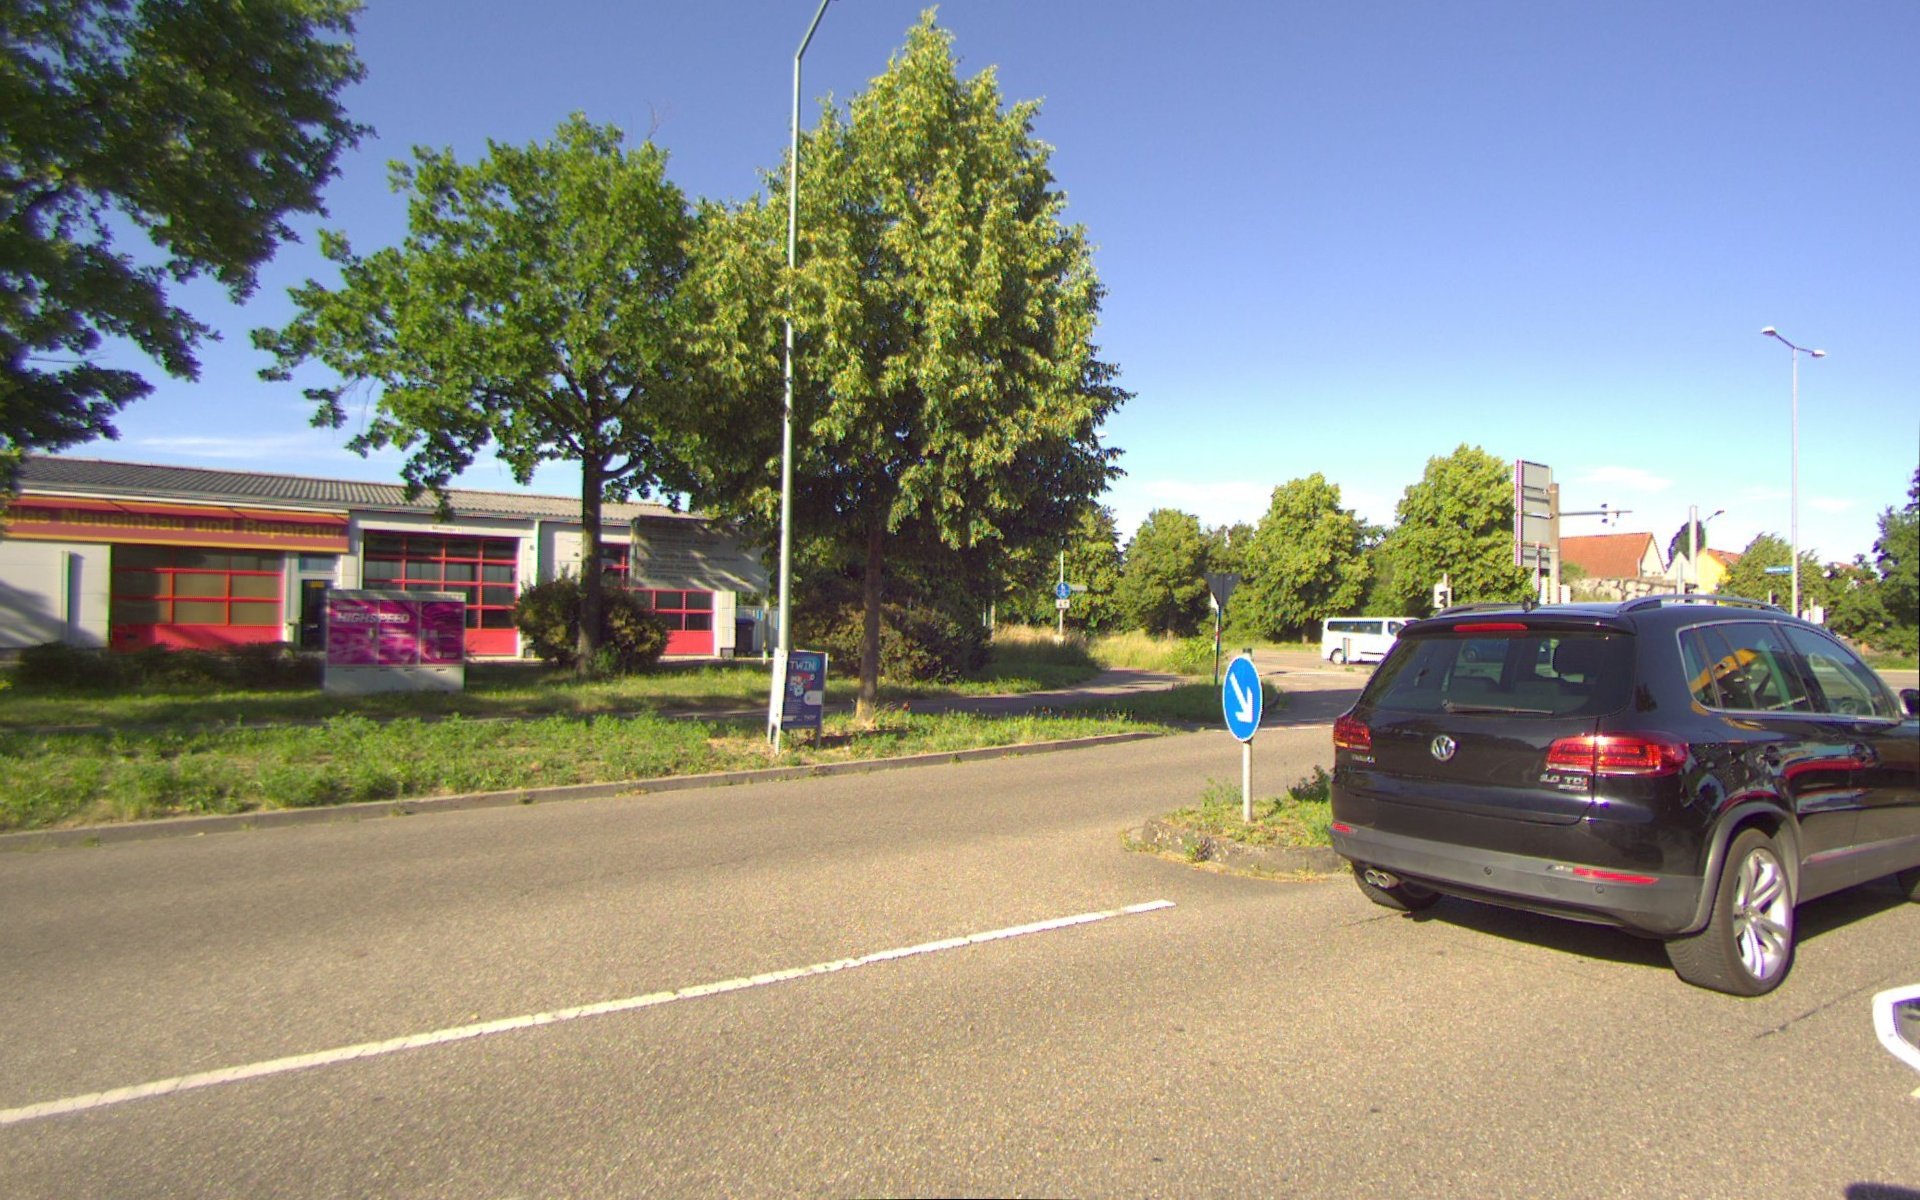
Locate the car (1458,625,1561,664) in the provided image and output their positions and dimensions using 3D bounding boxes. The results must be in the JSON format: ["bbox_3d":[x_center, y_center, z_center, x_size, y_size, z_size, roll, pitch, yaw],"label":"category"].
[{"bbox_3d":[23.761,1.908,43.501,1.733,1.581,3.559,2,-2,-35],"label":"car"}]

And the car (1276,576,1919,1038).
[{"bbox_3d":[3.771,0.831,5.466,3.955,1.675,1.763,1,-3,-32],"label":"car"}]

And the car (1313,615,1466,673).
[{"bbox_3d":[17.246,1.714,40.606,2.160,2.146,5.350,2,-1,-35],"label":"car"}]
